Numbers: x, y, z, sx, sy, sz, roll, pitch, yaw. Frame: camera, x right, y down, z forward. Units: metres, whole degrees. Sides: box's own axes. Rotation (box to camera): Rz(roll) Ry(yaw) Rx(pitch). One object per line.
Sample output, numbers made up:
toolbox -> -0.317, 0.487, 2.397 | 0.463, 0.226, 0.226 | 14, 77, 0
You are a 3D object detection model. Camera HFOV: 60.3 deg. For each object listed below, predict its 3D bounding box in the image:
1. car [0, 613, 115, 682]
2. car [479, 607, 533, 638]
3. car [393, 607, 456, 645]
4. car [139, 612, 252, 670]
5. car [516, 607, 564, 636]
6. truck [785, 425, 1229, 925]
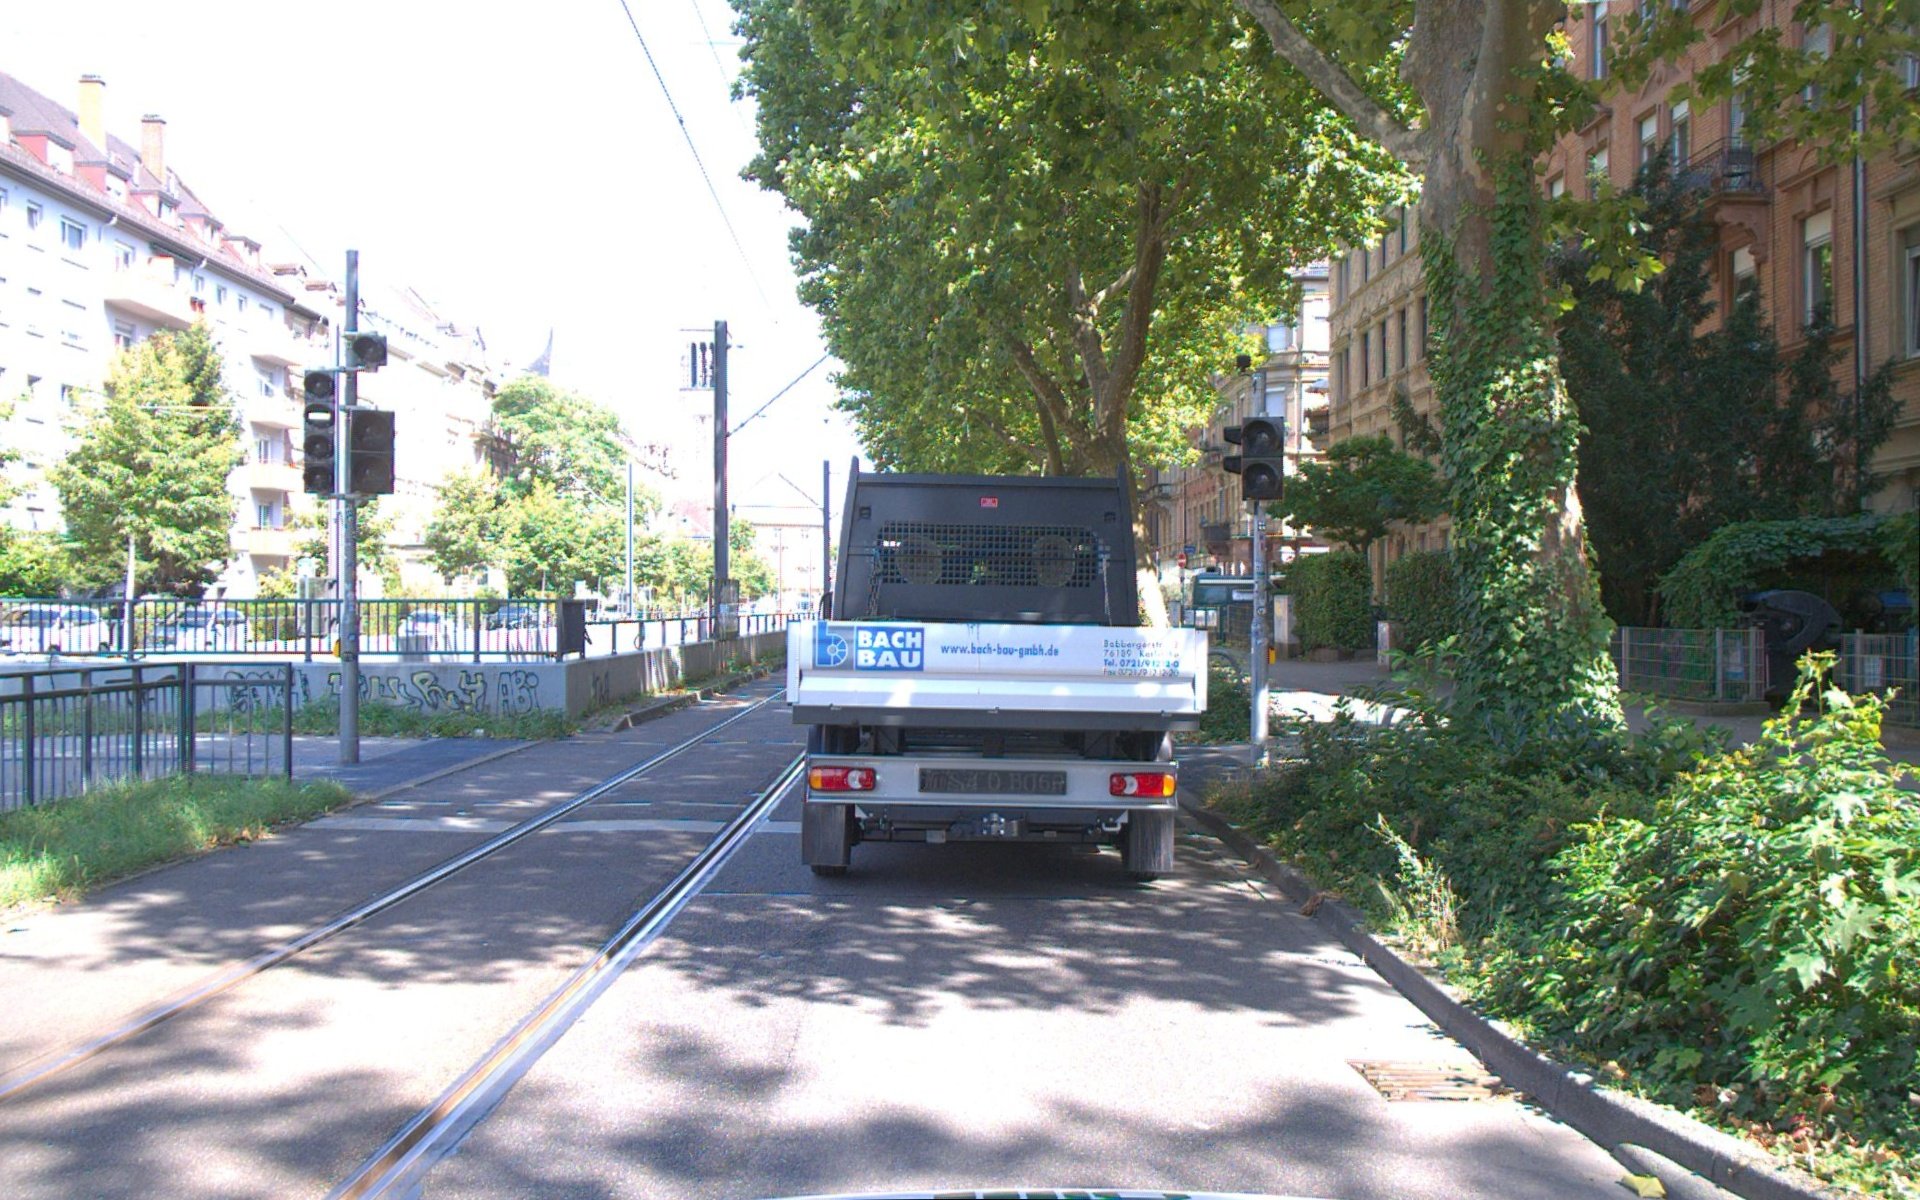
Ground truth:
car -> -21.862, 1.098, 39.414 | 1.737, 1.524, 3.994 | -2, 0, -6
car -> -22.752, 1.127, 82.985 | 1.735, 1.524, 3.998 | 0, 0, -2
car -> -22.504, 1.061, 69.603 | 1.736, 1.524, 3.994 | 0, 0, -6
car -> -22.010, 1.140, 47.781 | 1.737, 1.524, 3.994 | -2, 0, -6
car -> -23.024, 1.165, 90.818 | 1.735, 1.524, 3.998 | 0, 0, -2
truck -> 0.232, 0.363, 10.059 | 2.094, 2.359, 4.401 | 0, 0, 0
